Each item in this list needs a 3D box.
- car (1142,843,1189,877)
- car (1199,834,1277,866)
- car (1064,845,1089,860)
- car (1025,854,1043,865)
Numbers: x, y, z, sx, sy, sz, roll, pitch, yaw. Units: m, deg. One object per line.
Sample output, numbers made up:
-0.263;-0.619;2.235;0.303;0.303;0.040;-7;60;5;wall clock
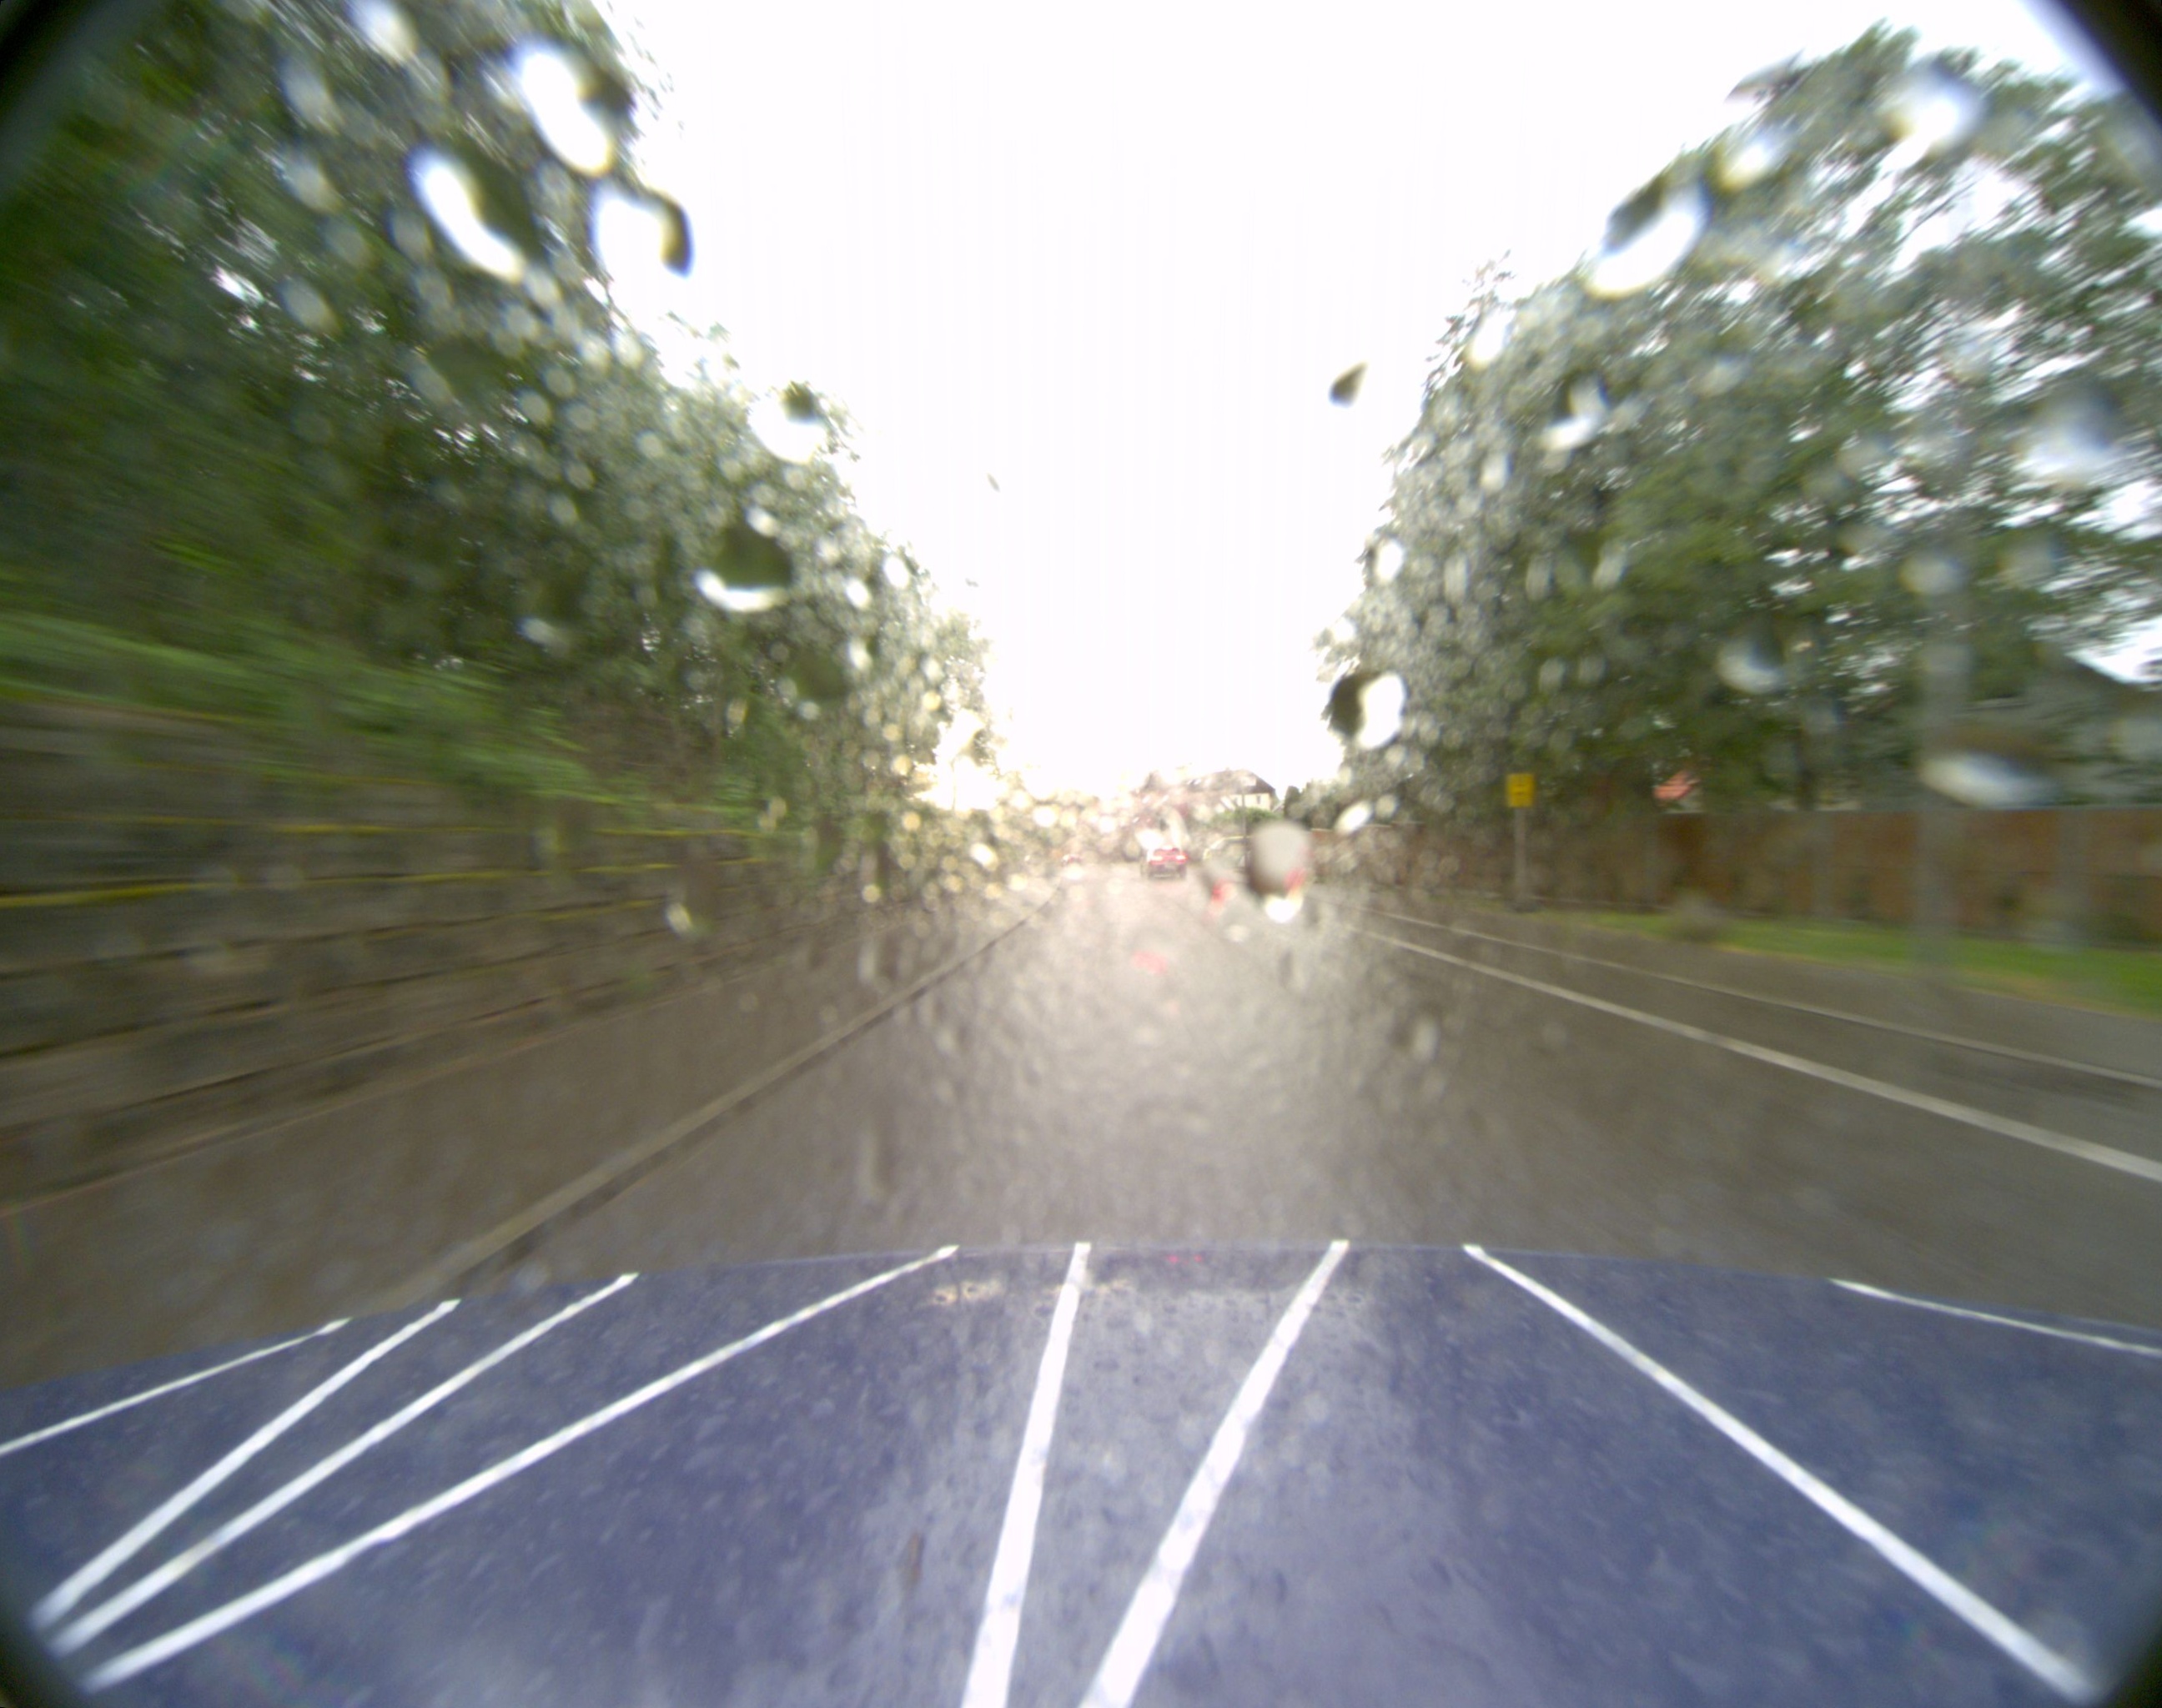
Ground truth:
4.404;0.276;40.231;1.923;1.638;4.545;-2;1;-1;car
9.959;-0.246;48.501;4.514;1.849;2.089;-2;0;-1;car
-0.485;-0.177;78.685;1.840;1.503;4.165;-3;1;-10;car
-6.613;0.733;106.296;1.841;1.503;4.612;-3;1;-13;car
